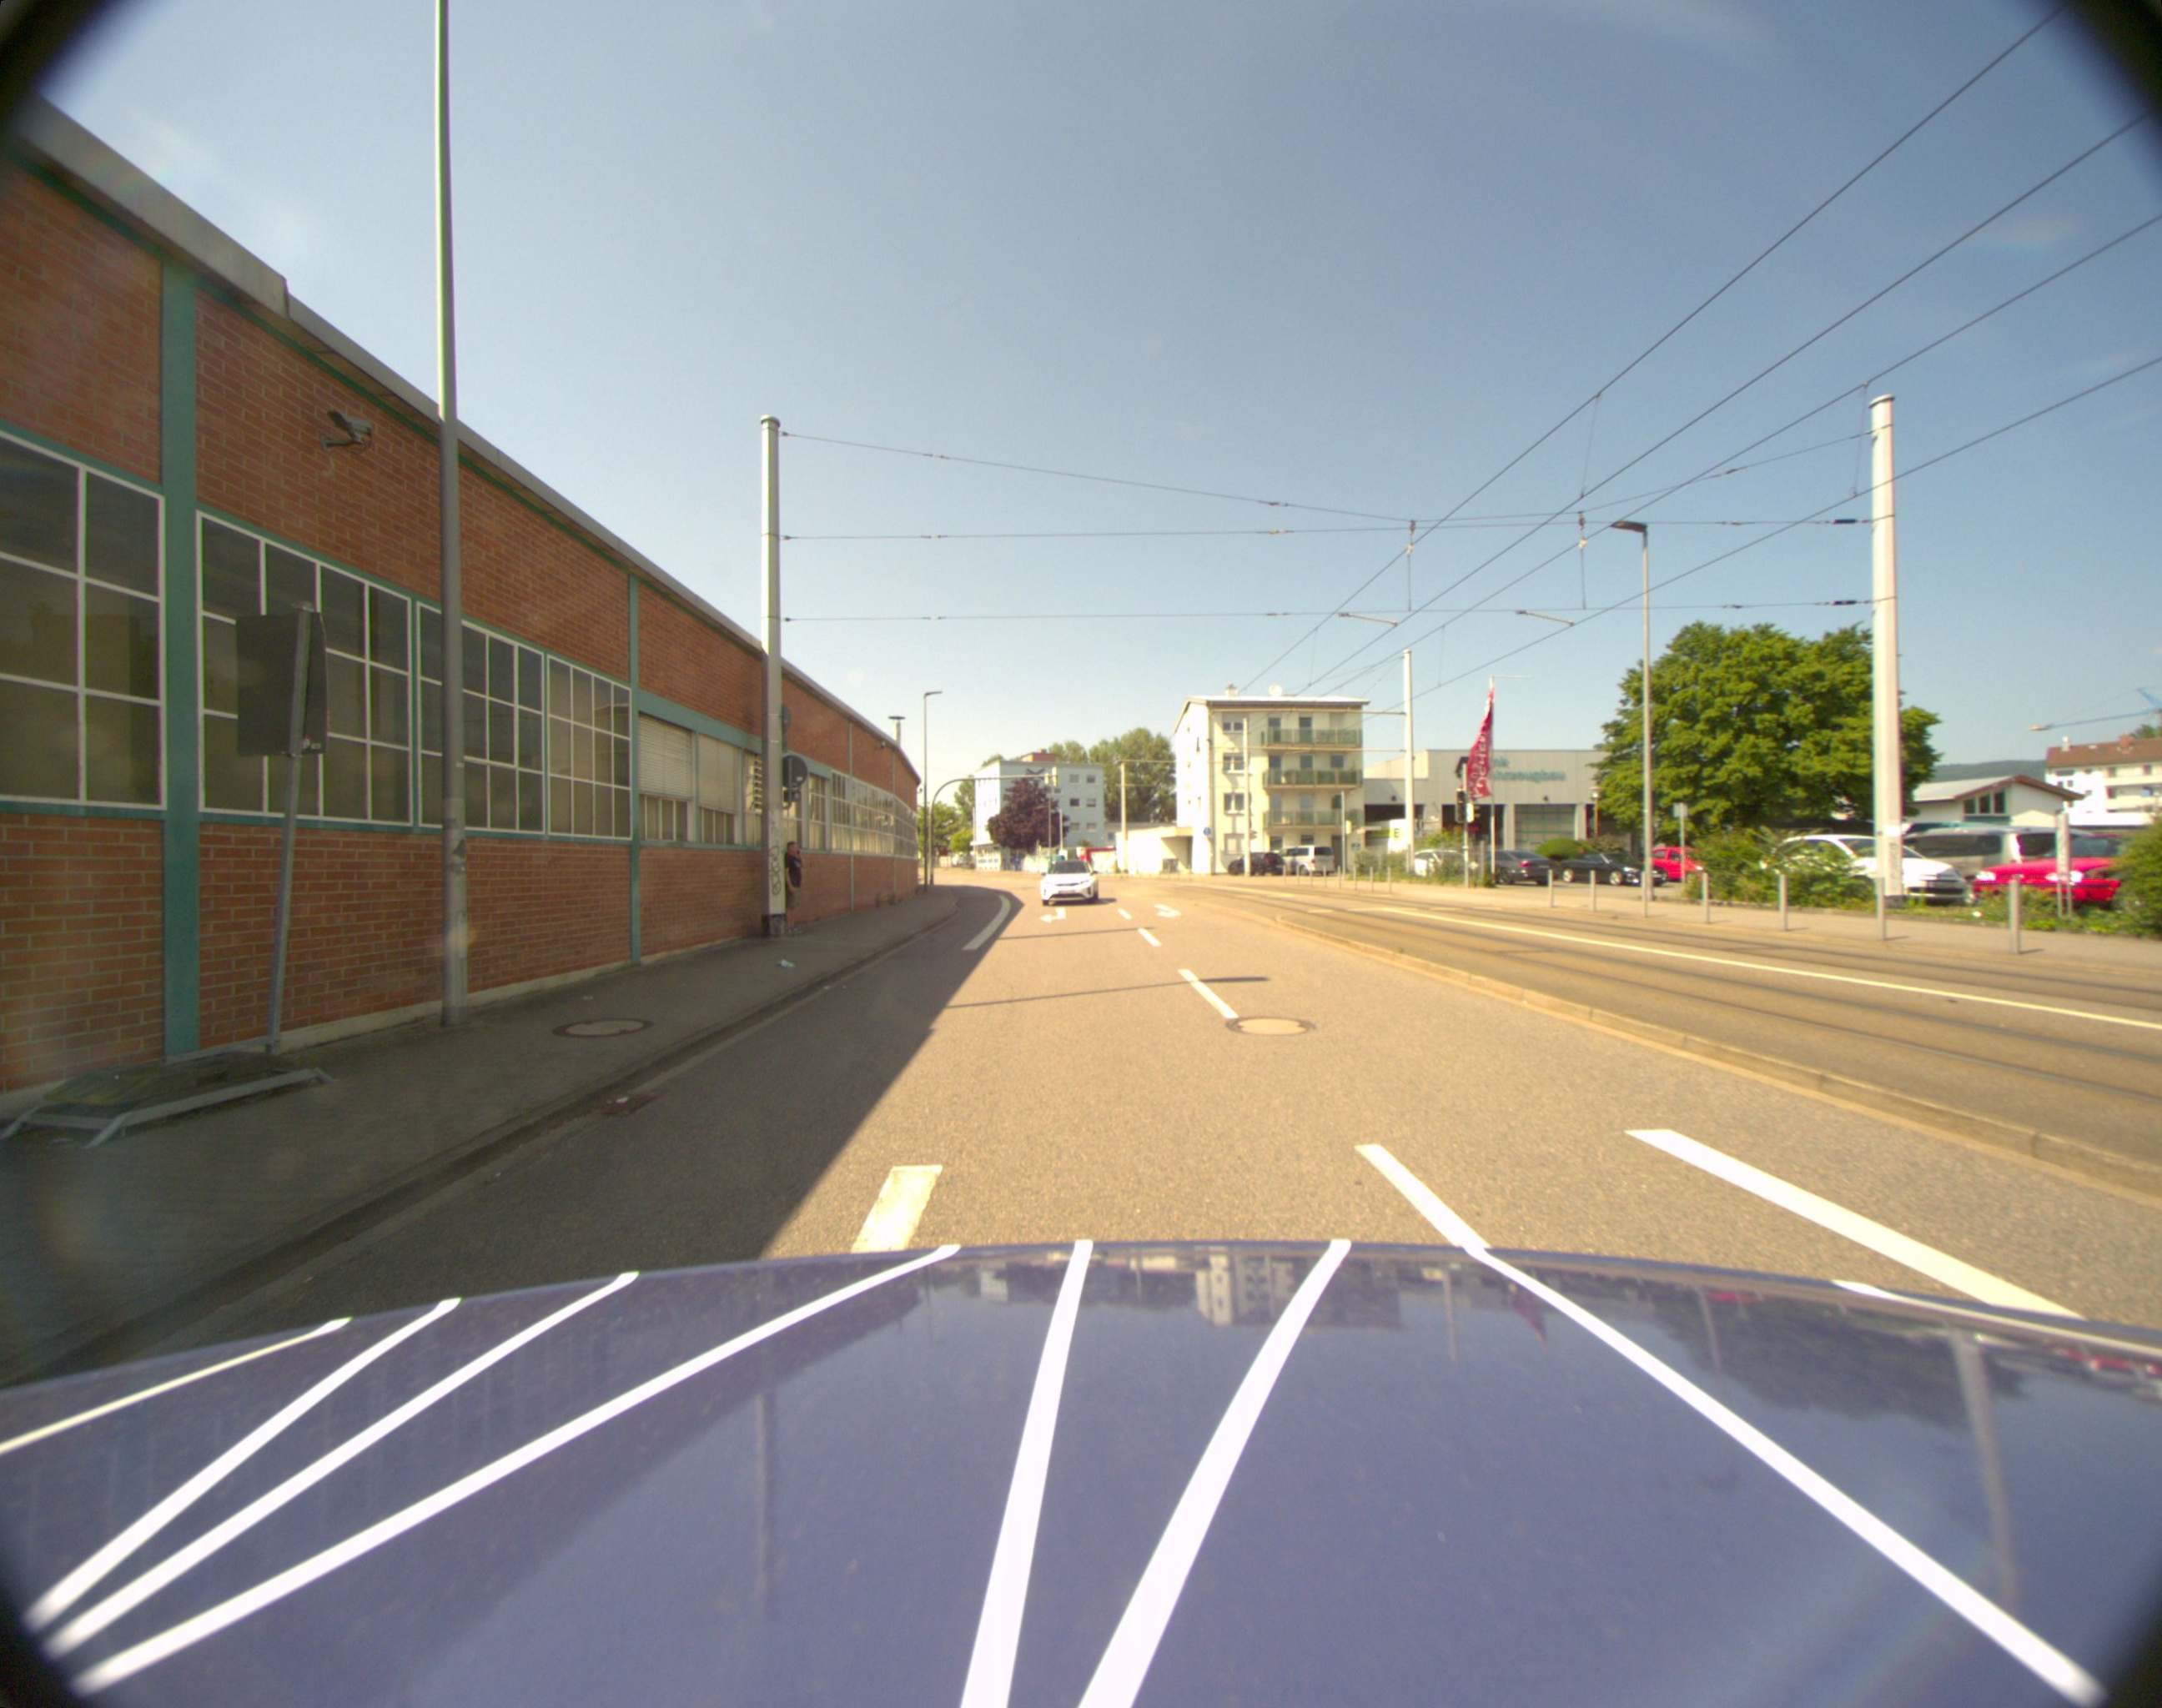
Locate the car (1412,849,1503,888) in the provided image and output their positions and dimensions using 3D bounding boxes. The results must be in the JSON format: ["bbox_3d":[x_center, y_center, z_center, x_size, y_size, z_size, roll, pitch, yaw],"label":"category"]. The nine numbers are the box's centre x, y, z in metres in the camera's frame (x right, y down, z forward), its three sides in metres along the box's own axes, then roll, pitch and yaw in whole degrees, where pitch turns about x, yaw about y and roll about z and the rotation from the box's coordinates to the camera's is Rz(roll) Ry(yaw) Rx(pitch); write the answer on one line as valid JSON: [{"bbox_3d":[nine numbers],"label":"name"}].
[{"bbox_3d":[15.422,0.553,31.364,1.712,1.425,3.954,-2,1,-2],"label":"car"}]

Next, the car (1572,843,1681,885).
[{"bbox_3d":[22.547,0.399,31.609,1.855,1.612,3.837,0,0,2],"label":"car"}]

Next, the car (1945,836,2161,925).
[{"bbox_3d":[17.399,0.395,12.708,3.833,1.362,1.748,-1,0,2],"label":"car"}]

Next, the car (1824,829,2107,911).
[{"bbox_3d":[18.991,0.318,16.637,1.854,1.559,3.937,-1,0,6],"label":"car"}]

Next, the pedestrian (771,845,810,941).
[{"bbox_3d":[-5.461,0.727,14.311,0.449,1.754,0.686,-1,-2,1],"label":"pedestrian"}]

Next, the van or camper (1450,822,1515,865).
[{"bbox_3d":[31.289,-0.786,59.415,1.999,3.186,5.057,-1,-1,-5],"label":"van or camper"}]

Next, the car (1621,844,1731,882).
[{"bbox_3d":[26.892,0.411,34.503,1.856,1.583,3.835,-1,0,-3],"label":"car"}]

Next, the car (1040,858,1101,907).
[{"bbox_3d":[-0.295,0.942,26.442,1.736,1.521,4.110,-1,0,4],"label":"car"}]

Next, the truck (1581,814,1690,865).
[{"bbox_3d":[43.813,-1.061,60.380,2.623,3.759,7.858,-1,0,-3],"label":"truck"}]

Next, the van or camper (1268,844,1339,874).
[{"bbox_3d":[14.395,0.299,49.458,2.002,1.897,4.547,0,0,-24],"label":"van or camper"}]

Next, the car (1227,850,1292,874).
[{"bbox_3d":[11.531,0.519,49.330,1.883,1.512,3.965,-1,0,-29],"label":"car"}]

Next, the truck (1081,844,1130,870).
[{"bbox_3d":[2.633,0.295,81.717,4.837,2.611,2.186,-1,0,-17],"label":"truck"}]

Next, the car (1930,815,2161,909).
[{"bbox_3d":[21.289,0.139,16.260,1.997,1.774,4.002,-1,0,7],"label":"car"}]

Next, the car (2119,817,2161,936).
[{"bbox_3d":[17.386,0.271,10.247,3.997,1.696,2.000,-1,0,1],"label":"car"}]

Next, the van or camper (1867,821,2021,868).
[{"bbox_3d":[39.101,-0.404,34.640,1.998,1.996,4.645,-1,0,5],"label":"van or camper"}]

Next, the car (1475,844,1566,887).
[{"bbox_3d":[17.875,0.537,31.121,1.767,1.611,3.839,-2,-2,6],"label":"car"}]

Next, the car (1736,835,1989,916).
[{"bbox_3d":[16.569,0.412,16.427,1.739,1.532,3.838,-1,0,6],"label":"car"}]
